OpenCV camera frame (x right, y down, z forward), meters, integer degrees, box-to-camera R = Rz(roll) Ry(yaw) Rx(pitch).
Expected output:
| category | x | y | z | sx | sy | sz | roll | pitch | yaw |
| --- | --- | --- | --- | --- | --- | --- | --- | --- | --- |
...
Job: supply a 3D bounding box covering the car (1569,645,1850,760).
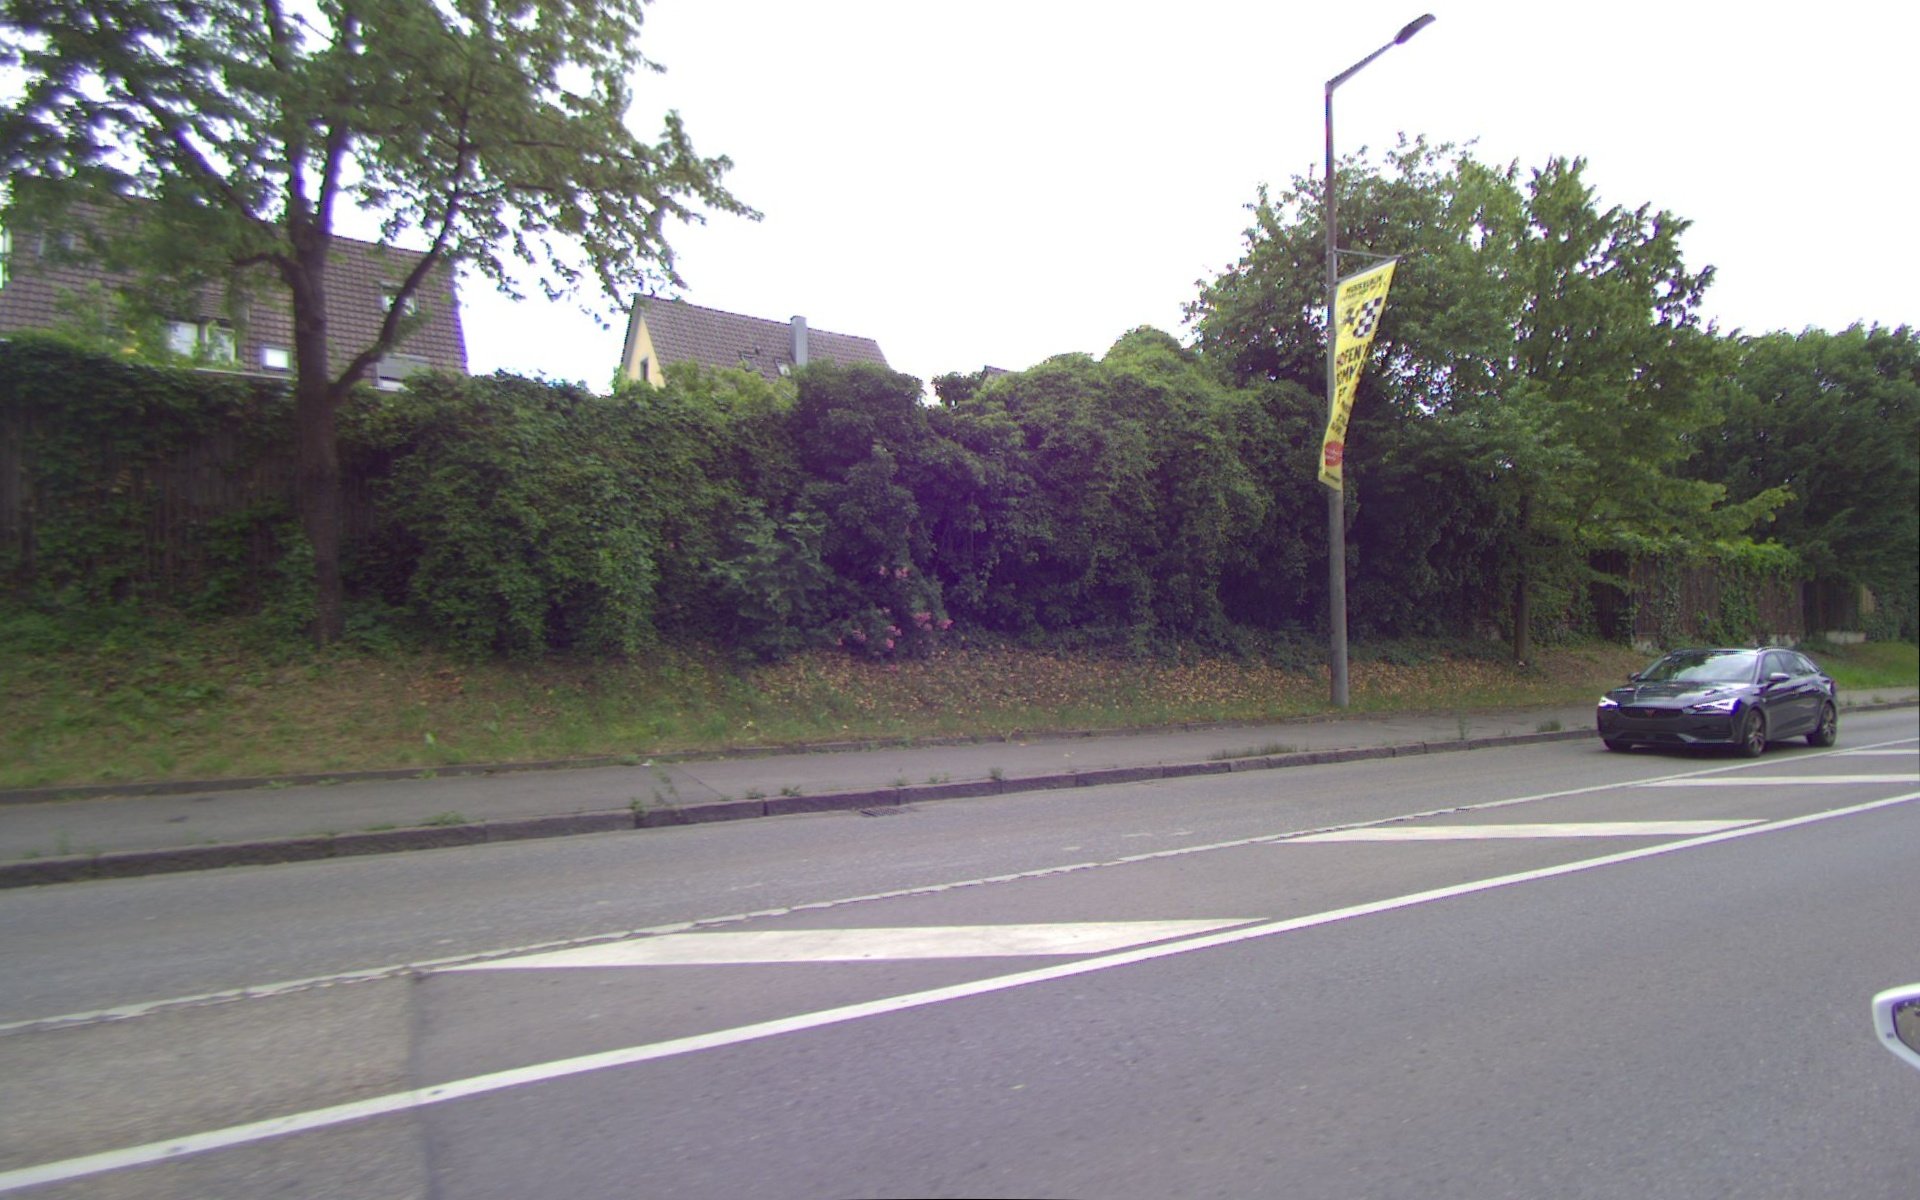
| category | x | y | z | sx | sy | sz | roll | pitch | yaw |
| --- | --- | --- | --- | --- | --- | --- | --- | --- | --- |
| car | 10.818 | 1.376 | 14.416 | 4.401 | 1.393 | 1.831 | 1 | -4 | -34 |
